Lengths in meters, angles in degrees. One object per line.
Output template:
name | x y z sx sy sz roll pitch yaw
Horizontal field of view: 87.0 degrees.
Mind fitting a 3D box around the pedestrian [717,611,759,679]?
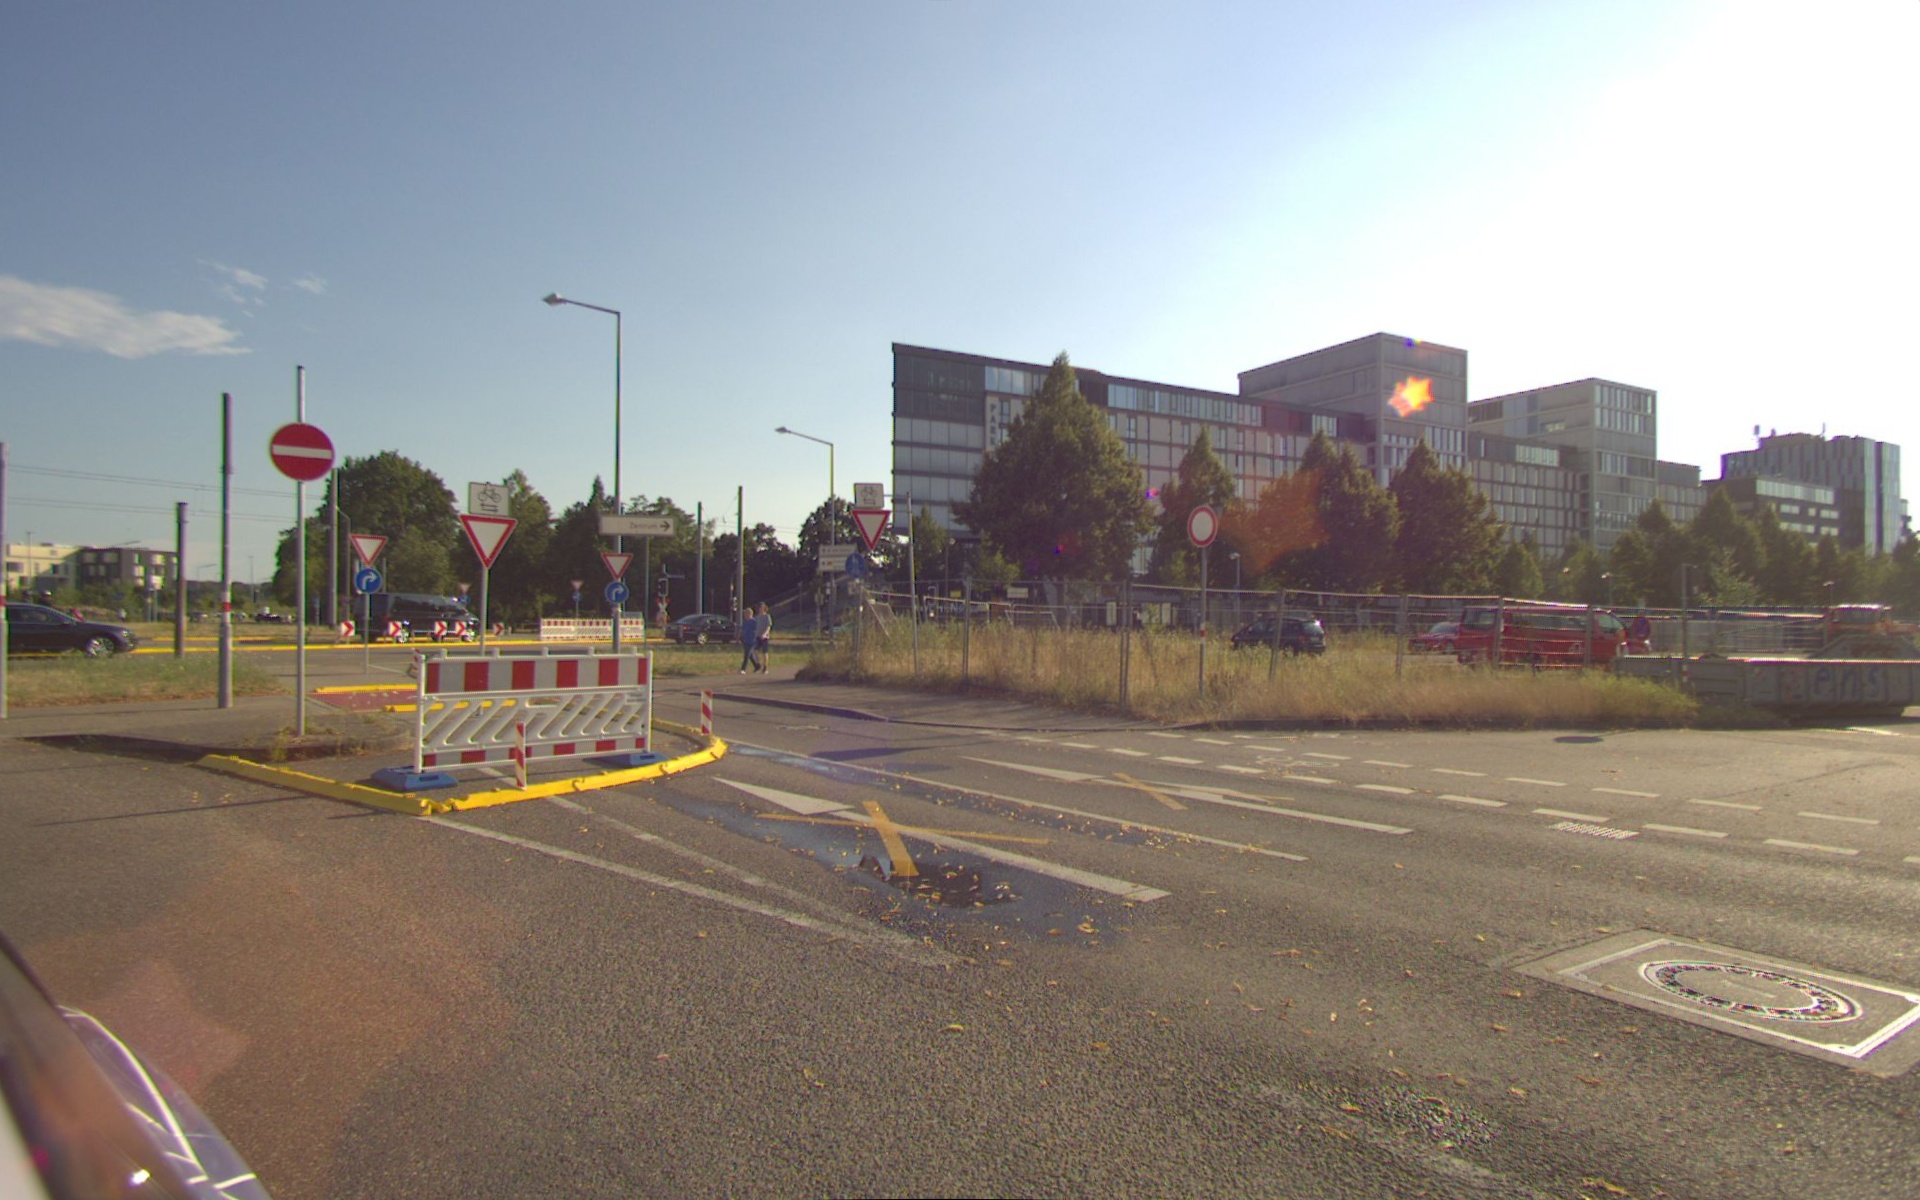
pedestrian | -5.710 1.159 26.074 0.778 1.722 0.810 0 -2 11

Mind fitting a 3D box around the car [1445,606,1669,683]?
car | 16.548 1.225 28.178 5.229 2.029 2.003 0 -2 -8

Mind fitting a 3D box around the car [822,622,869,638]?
car | -9.232 2.448 81.680 3.442 1.249 1.664 1 -1 -25

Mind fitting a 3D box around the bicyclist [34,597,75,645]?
bicyclist | -27.536 0.633 30.760 0.882 1.395 0.763 2 2 36

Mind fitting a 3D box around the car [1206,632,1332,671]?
car | 11.875 1.947 39.116 4.247 1.373 1.971 -1 -2 45

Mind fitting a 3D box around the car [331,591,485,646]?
car | -21.968 0.751 40.523 2.083 2.063 5.198 0 -1 25

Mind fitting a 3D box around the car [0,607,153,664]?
car | -24.169 0.908 26.655 1.810 1.447 4.326 -1 -1 42

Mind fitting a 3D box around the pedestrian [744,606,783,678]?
pedestrian | -4.973 1.064 25.608 0.751 1.789 0.770 0 -2 8

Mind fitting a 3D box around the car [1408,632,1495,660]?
car | 22.045 2.046 45.398 3.867 1.175 1.336 1 -1 -24

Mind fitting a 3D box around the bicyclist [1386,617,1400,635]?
bicyclist | 34.262 2.052 80.090 0.618 1.420 0.873 1 -1 -35

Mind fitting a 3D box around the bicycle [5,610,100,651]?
bicycle | -27.475 0.920 30.665 0.818 1.193 2.007 -1 -2 35

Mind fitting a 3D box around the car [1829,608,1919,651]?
car | 55.363 1.774 61.025 5.832 2.459 2.543 1 -1 -28

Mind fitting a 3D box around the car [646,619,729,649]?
car | -13.264 1.638 49.590 1.826 1.417 4.677 0 -1 15

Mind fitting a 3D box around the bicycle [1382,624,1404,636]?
bicycle | 34.287 2.354 80.086 1.691 0.936 0.853 1 -1 -36
